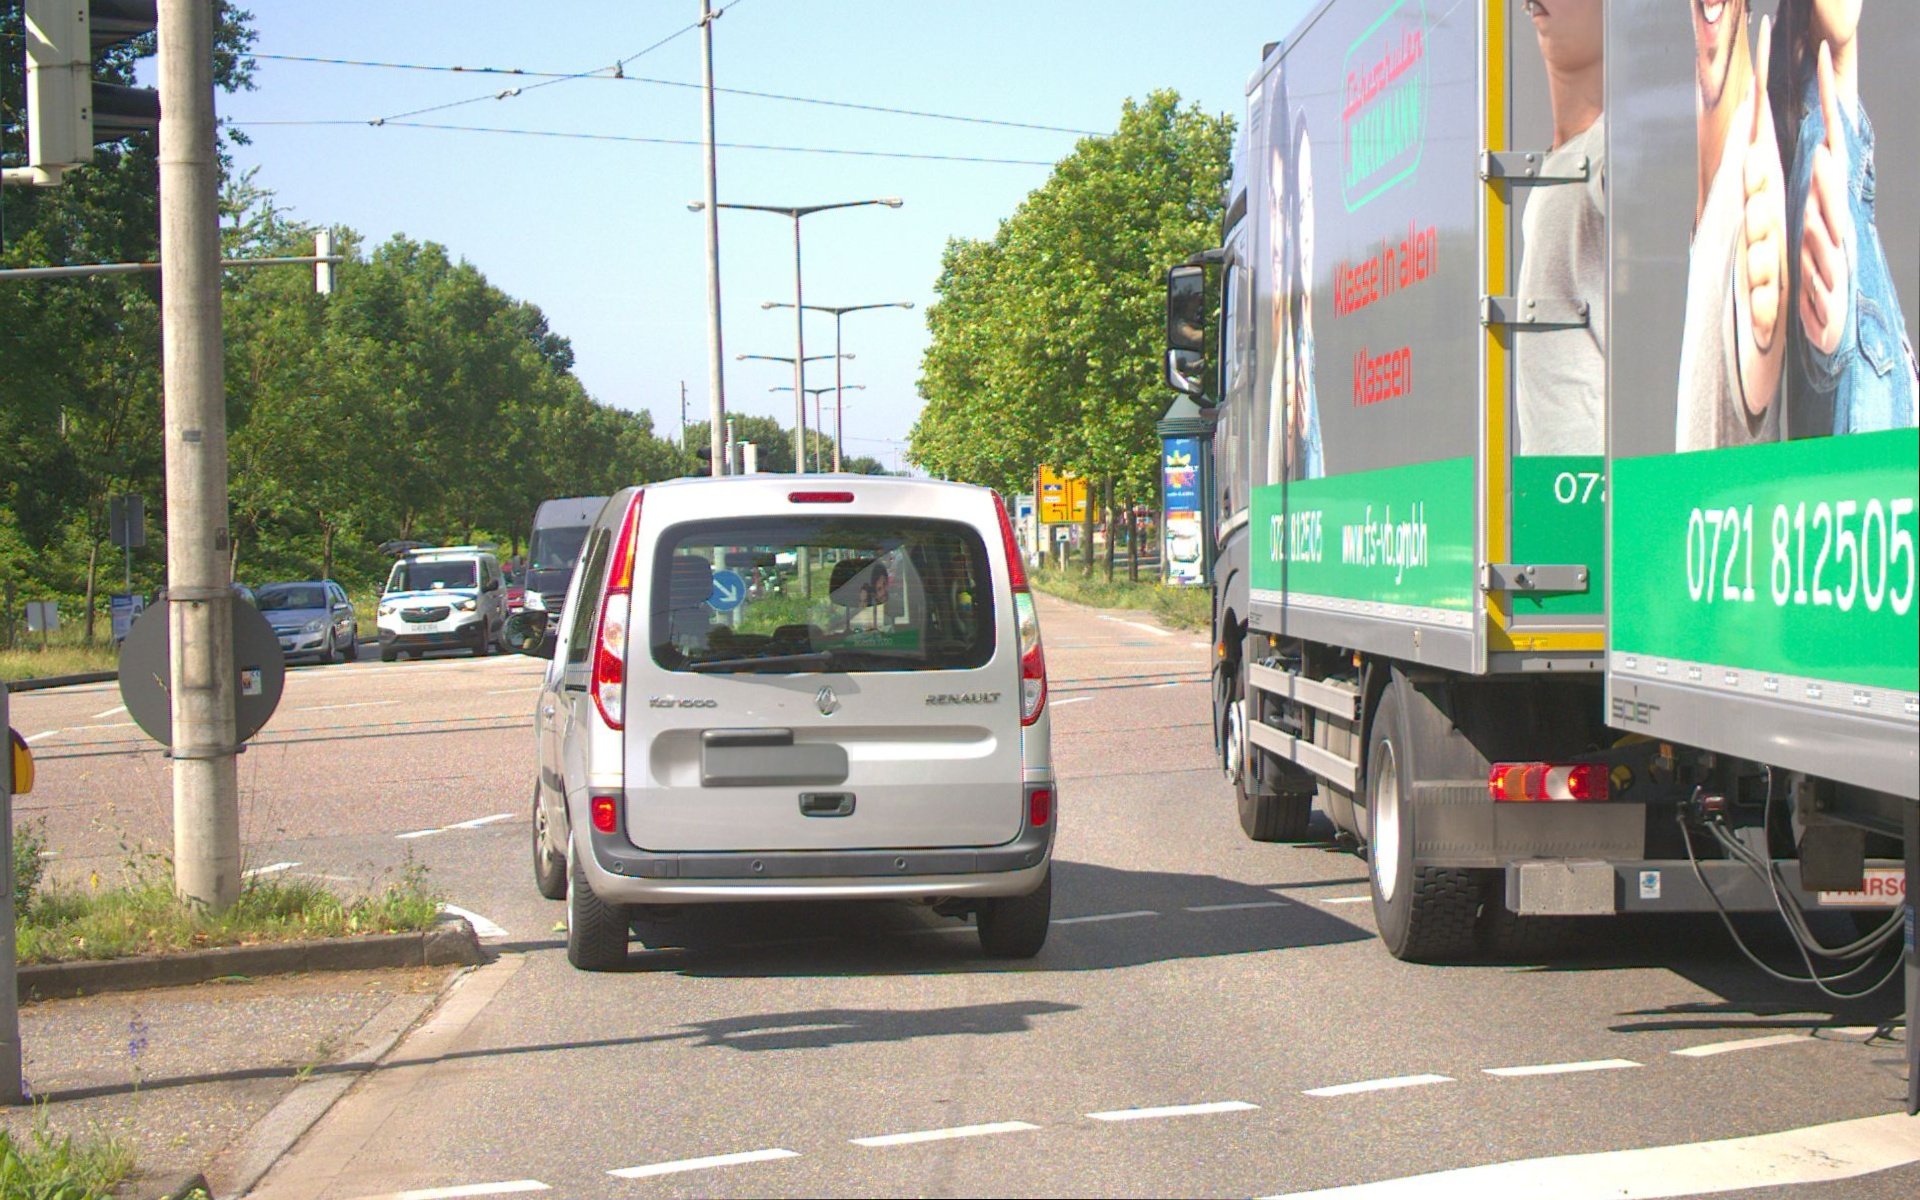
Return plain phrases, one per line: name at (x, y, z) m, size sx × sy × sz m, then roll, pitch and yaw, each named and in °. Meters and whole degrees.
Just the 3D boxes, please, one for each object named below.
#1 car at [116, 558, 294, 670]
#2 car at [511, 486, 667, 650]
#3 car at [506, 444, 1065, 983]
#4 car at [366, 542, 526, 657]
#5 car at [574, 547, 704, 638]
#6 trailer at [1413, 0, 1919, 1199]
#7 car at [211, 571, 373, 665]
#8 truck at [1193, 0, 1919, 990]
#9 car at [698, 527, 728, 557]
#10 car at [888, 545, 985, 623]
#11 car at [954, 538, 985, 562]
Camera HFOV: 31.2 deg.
car at (-11.773, 0.195, 53.808) m, size 1.911 × 1.636 × 3.737 m, roll -2°, pitch 0°, yaw 0°
car at (-6.193, -0.530, 57.915) m, size 1.993 × 2.598 × 5.133 m, roll -2°, pitch 0°, yaw 0°
car at (-0.849, 0.380, 13.805) m, size 1.786 × 1.831 × 4.001 m, roll 1°, pitch 0°, yaw -9°
car at (-8.830, -0.023, 59.428) m, size 1.993 × 1.863 × 4.774 m, roll -2°, pitch 0°, yaw 0°
car at (-6.053, -0.149, 65.199) m, size 1.993 × 1.579 × 4.000 m, roll -2°, pitch 0°, yaw 1°
trailer at (2.779, -0.615, 6.316) m, size 2.736 × 3.863 × 7.736 m, roll -1°, pitch 0°, yaw -1°
car at (-11.722, 0.289, 60.586) m, size 1.993 × 1.535 × 4.236 m, roll -2°, pitch 0°, yaw 0°
truck at (2.693, -0.818, 14.612) m, size 2.729 × 3.876 × 8.723 m, roll -1°, pitch 0°, yaw 0°
car at (-17.461, -4.093, 243.150) m, size 1.888 × 2.007 × 4.000 m, roll 1°, pitch 0°, yaw 0°
car at (-0.480, -0.344, 73.556) m, size 1.993 × 1.579 × 4.456 m, roll 1°, pitch 0°, yaw 0°
car at (0.631, -3.370, 230.873) m, size 1.993 × 1.579 × 4.456 m, roll -2°, pitch 1°, yaw 1°
